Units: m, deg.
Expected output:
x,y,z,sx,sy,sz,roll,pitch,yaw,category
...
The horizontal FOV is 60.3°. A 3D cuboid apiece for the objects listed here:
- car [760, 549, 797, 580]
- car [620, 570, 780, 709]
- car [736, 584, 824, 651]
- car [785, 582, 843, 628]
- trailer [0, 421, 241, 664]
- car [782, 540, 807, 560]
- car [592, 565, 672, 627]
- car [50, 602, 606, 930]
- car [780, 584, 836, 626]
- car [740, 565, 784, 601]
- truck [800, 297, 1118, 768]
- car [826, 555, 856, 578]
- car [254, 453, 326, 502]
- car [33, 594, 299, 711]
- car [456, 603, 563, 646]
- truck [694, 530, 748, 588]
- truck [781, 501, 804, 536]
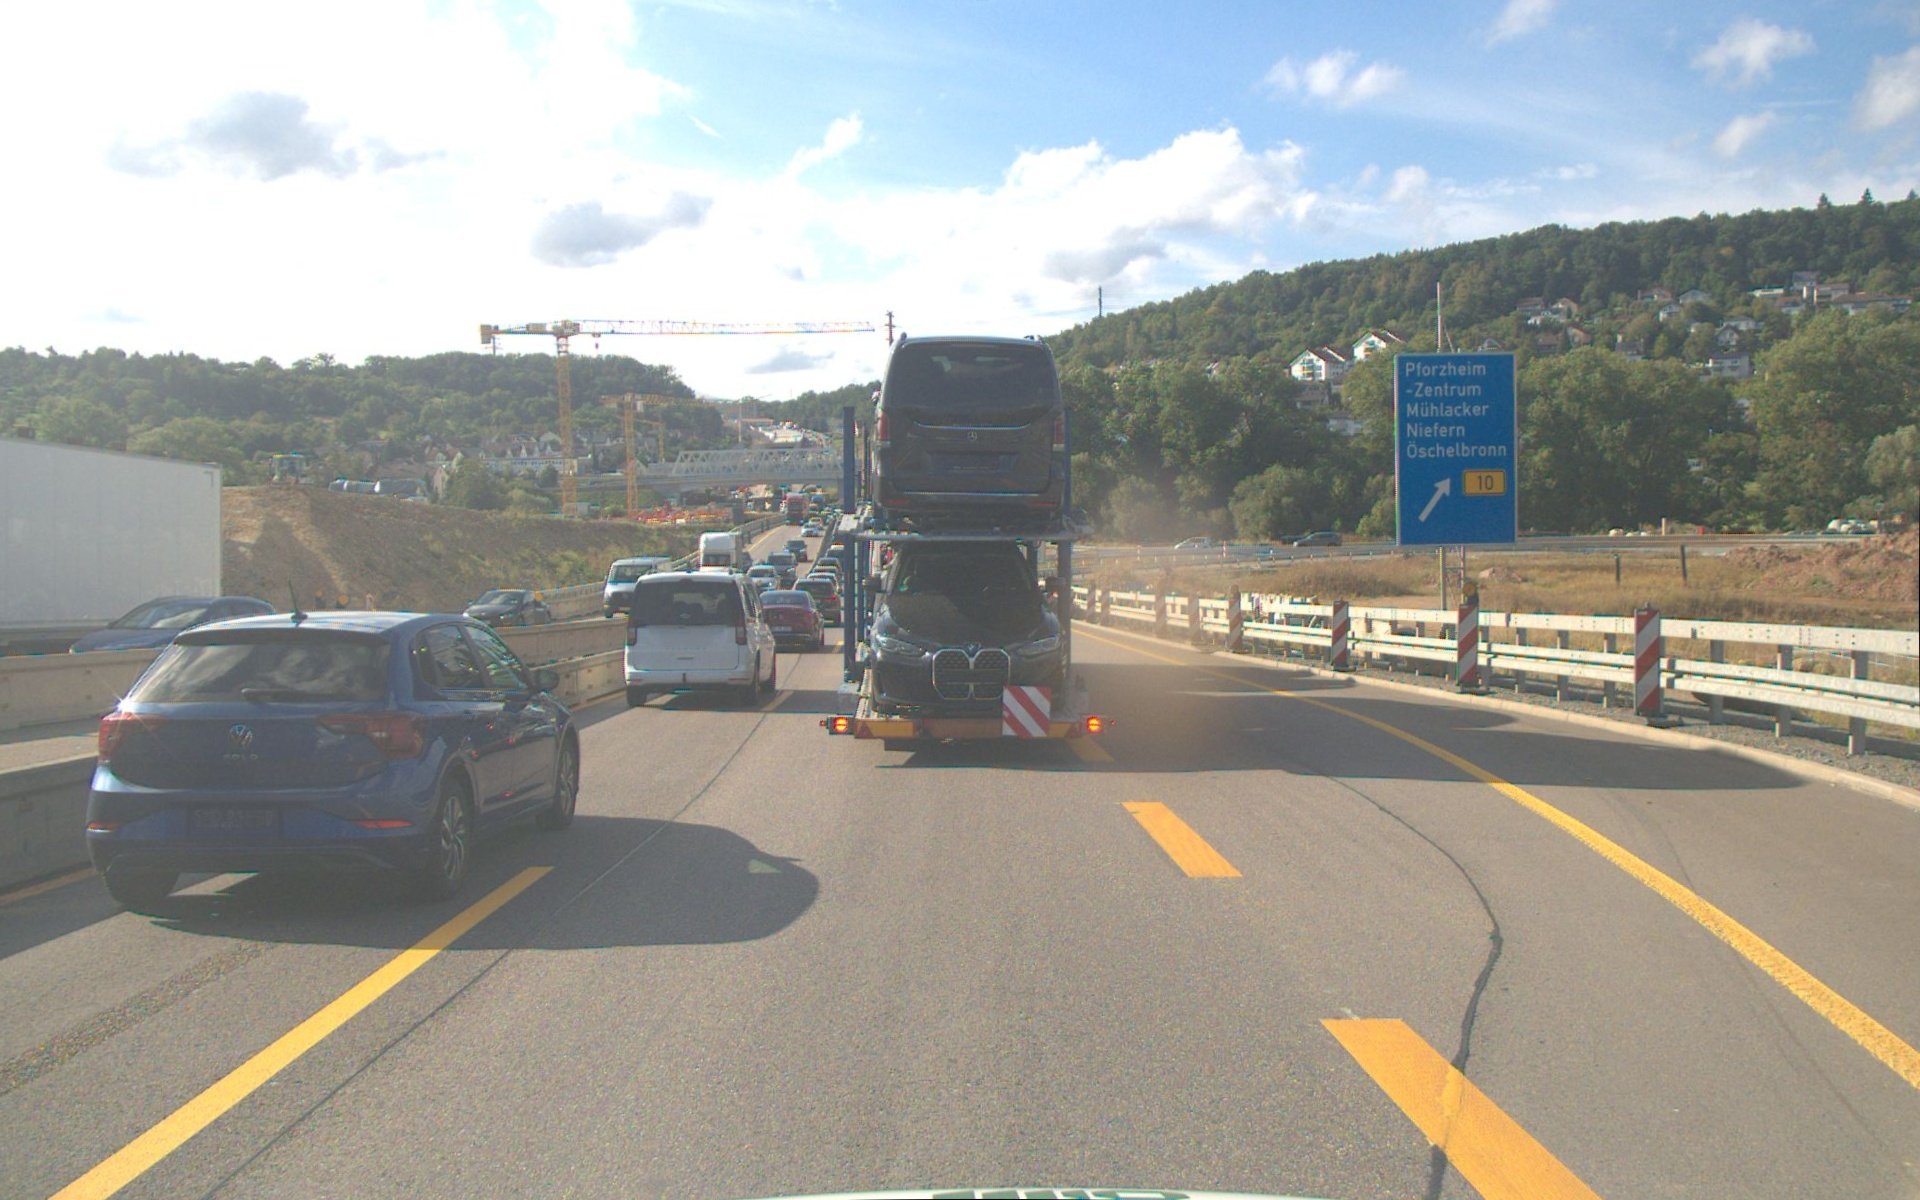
x,y,z,sx,sy,sz,roll,pitch,yaw,category
-11.460,-2.279,104.639,2.084,1.796,5.028,-1,2,-4,car
-3.660,0.535,23.872,1.786,1.823,3.998,0,0,-2,car
-4.456,0.422,41.488,1.954,1.584,4.398,0,0,-3,car
-5.114,0.181,58.028,1.954,1.579,3.996,0,0,-5,car
-16.793,-0.924,26.755,2.760,3.908,13.814,0,0,7,trailer
-13.950,-4.206,139.598,1.815,1.664,4.747,-2,2,-3,car
-13.521,-0.144,68.526,2.212,2.444,5.866,0,0,0,car
-3.314,0.777,9.556,1.687,1.447,3.999,-2,-1,-1,car
-5.969,0.200,65.413,1.953,1.579,3.998,0,0,-2,car
-10.520,-0.928,88.053,2.084,1.703,4.270,-1,2,-4,car
-0.222,-0.513,23.721,2.697,4.024,18.883,1,0,-1,truck
-8.688,-2.422,121.058,1.953,1.579,3.998,0,0,-2,car
-37.693,-6.849,93.171,1.955,2.177,5.317,-5,0,-4,car
-12.823,0.806,27.032,1.951,1.757,4.126,0,0,8,car
-14.076,0.753,51.896,1.879,1.295,4.003,0,0,7,car
-14.606,-2.450,101.625,2.647,3.369,7.532,0,0,-3,truck
-22.585,-10.930,223.136,2.859,4.463,6.277,1,1,-7,truck
